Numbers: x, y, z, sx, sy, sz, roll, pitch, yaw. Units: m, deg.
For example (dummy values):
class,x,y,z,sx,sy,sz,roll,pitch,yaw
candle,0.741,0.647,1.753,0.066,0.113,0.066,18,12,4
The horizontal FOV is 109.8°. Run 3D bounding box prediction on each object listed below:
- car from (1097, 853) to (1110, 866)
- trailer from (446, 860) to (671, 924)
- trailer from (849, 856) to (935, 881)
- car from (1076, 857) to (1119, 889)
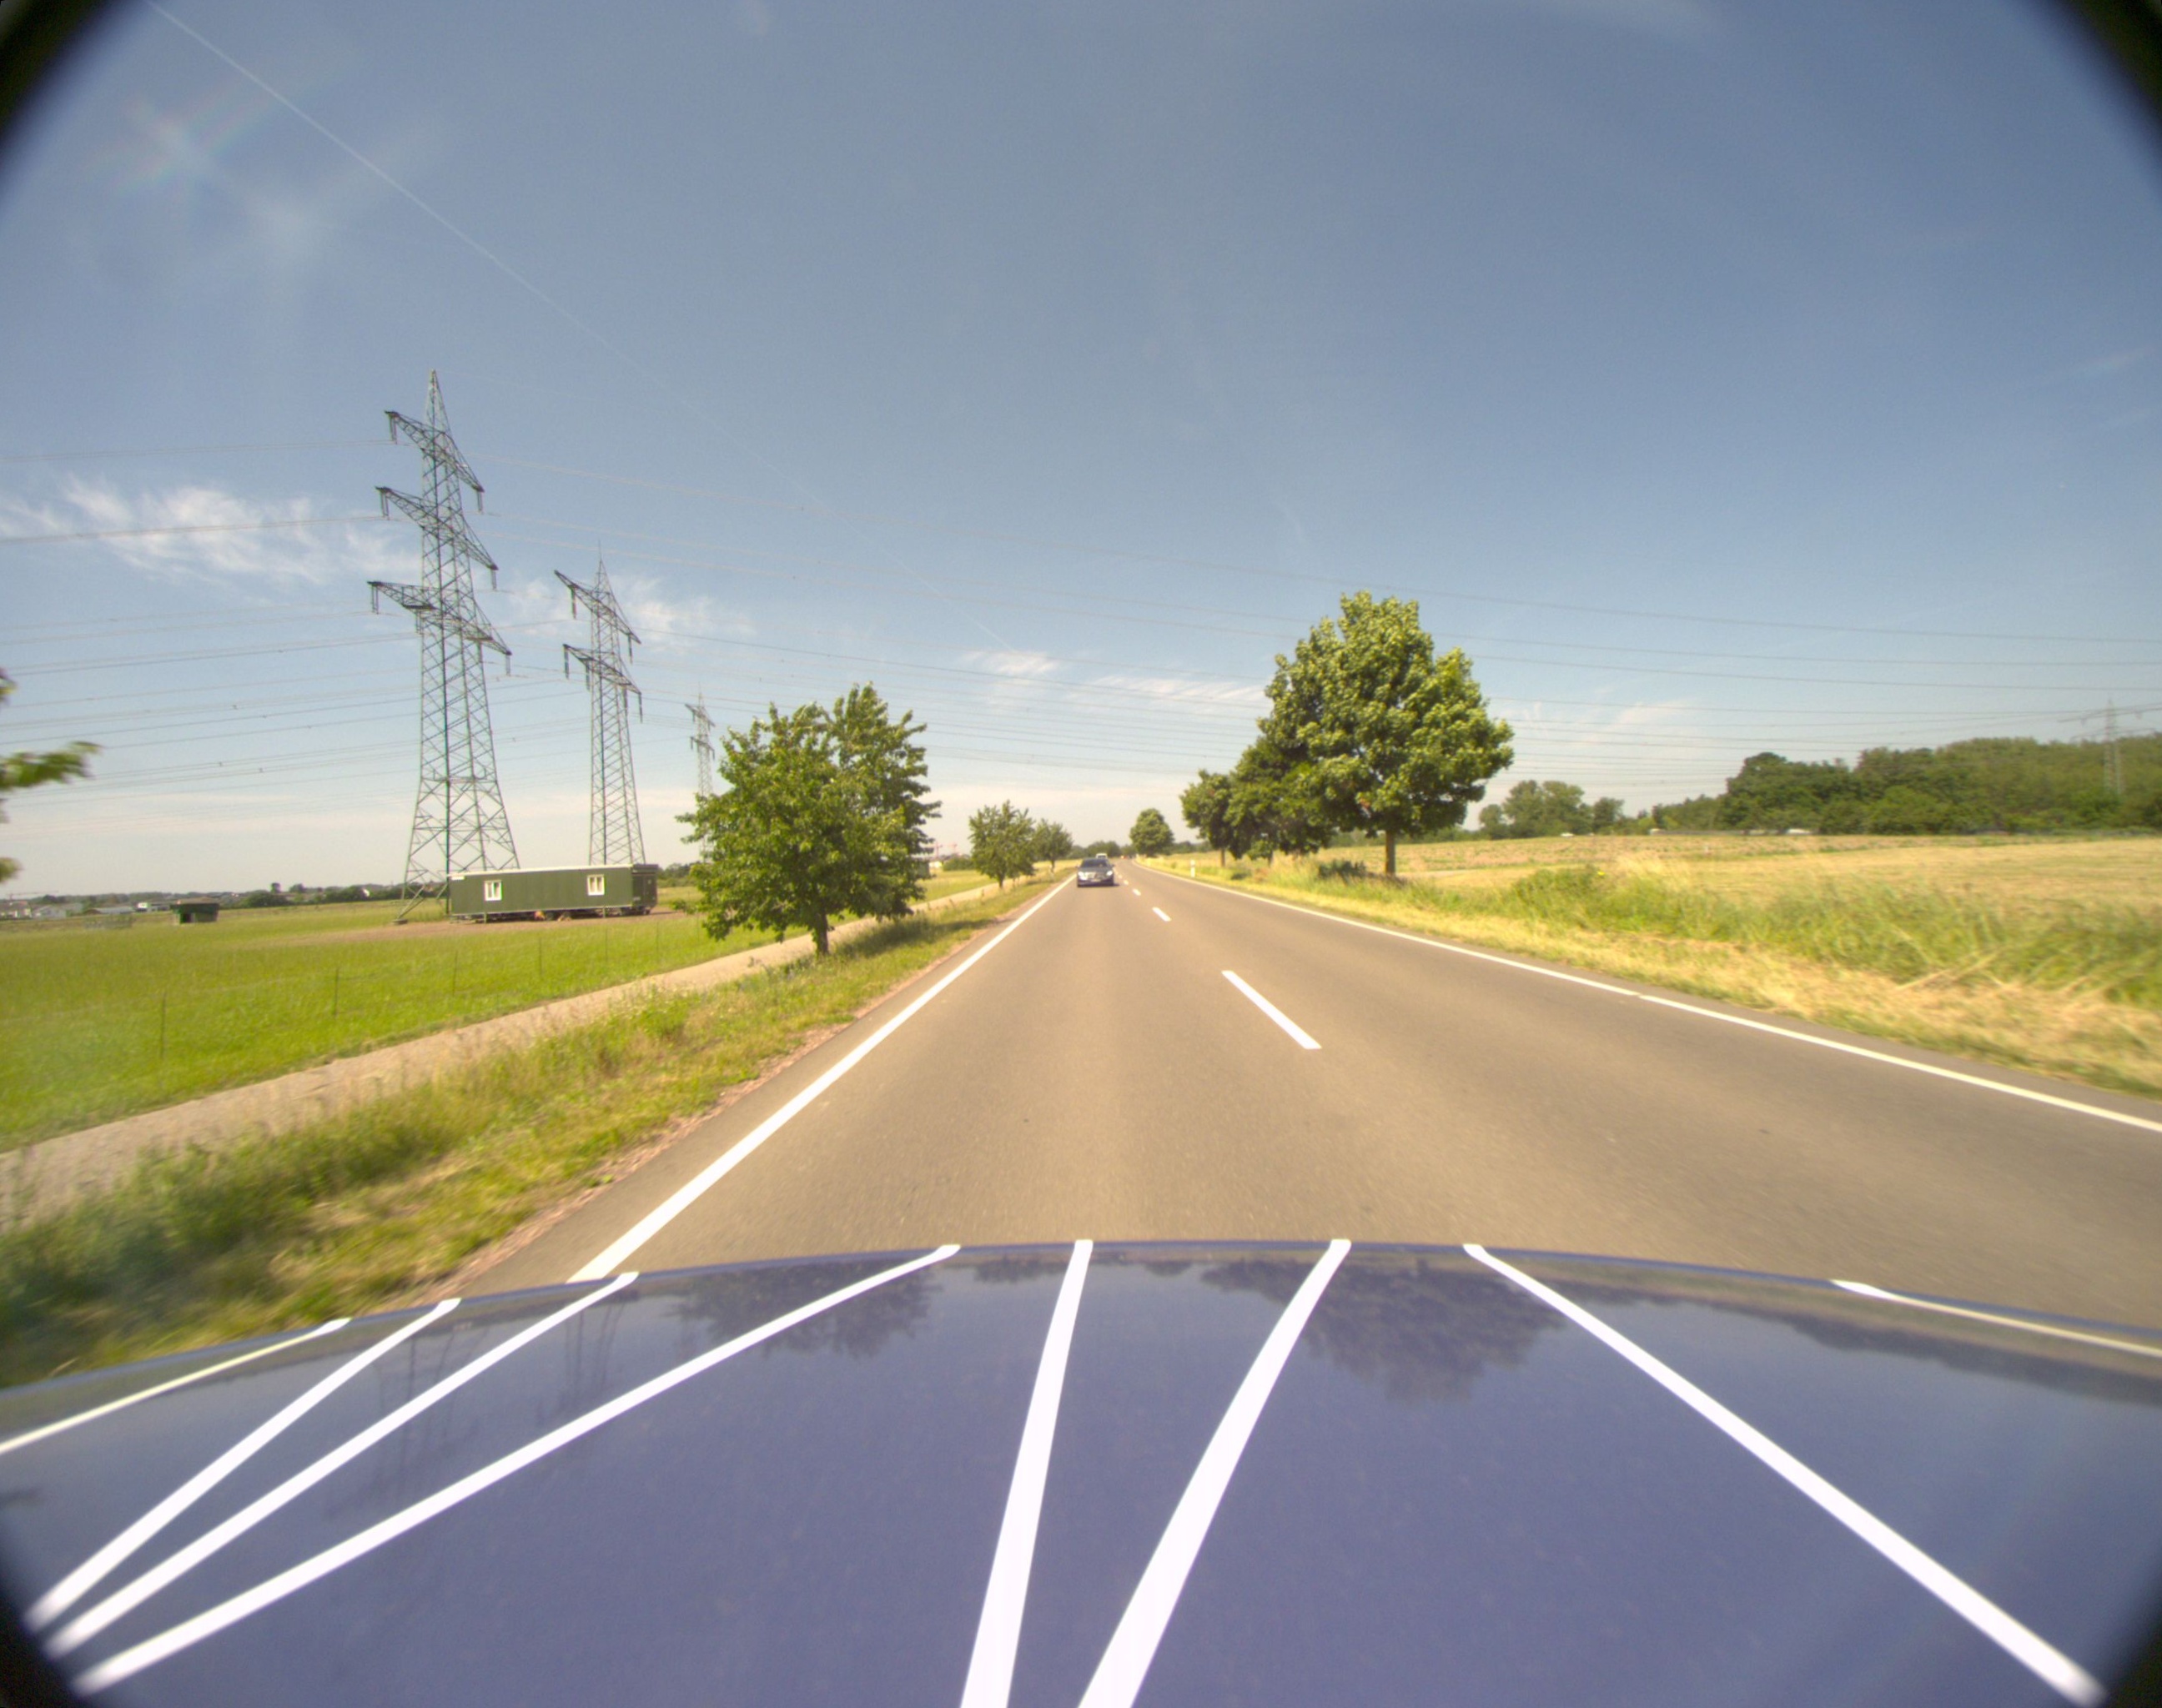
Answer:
class,x,y,z,sx,sy,sz,roll,pitch,yaw
car,3.613,0.867,122.835,1.998,1.907,4.206,-3,0,1
trailer,-35.058,2.515,51.335,12.441,3.452,3.805,-3,0,1
trailer,-31.818,2.401,128.009,13.541,3.455,3.277,-3,0,2
car,0.737,0.877,36.889,1.954,1.390,4.000,-1,0,0
